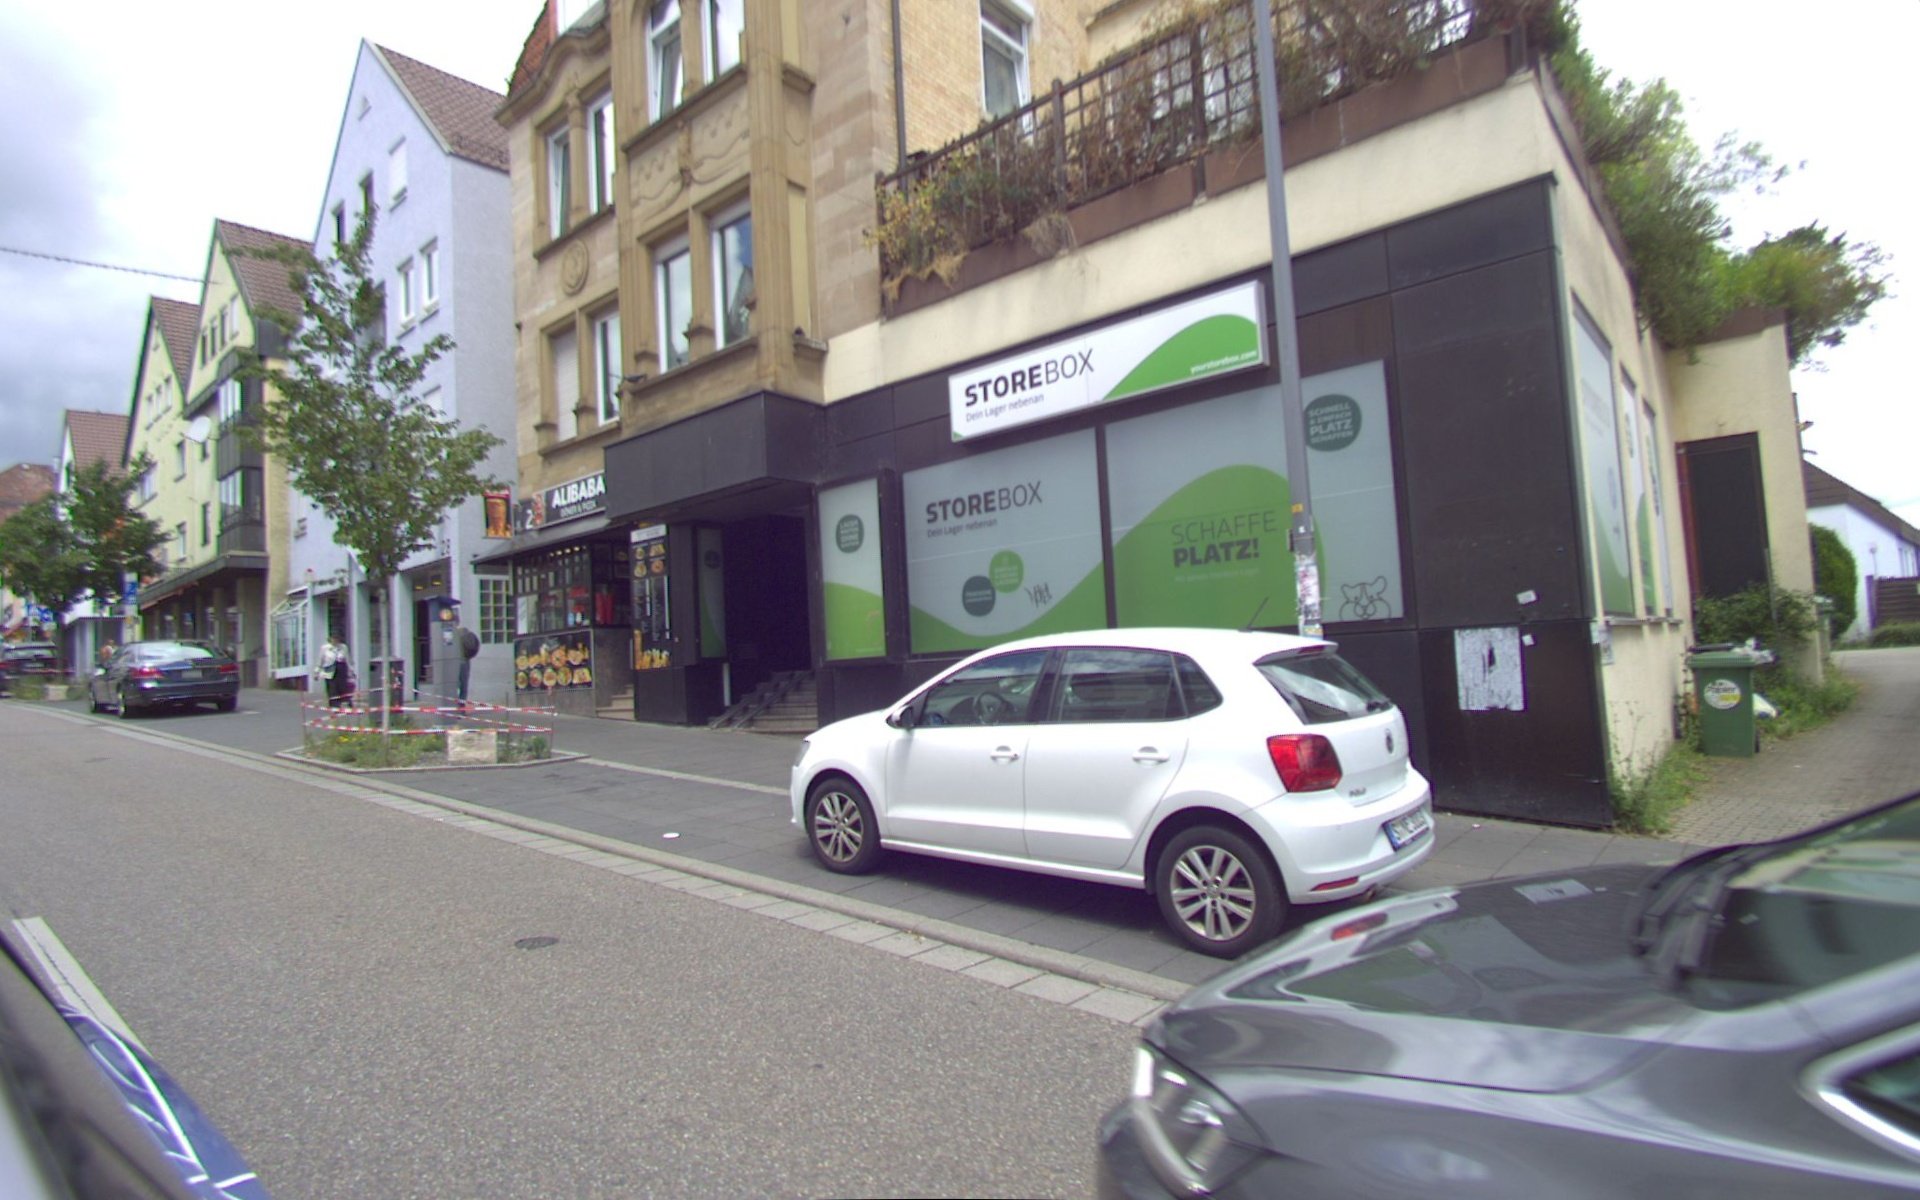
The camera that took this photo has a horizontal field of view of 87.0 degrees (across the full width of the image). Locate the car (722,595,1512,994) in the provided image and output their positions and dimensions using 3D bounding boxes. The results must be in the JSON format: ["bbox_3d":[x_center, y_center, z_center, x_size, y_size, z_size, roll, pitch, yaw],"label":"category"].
[{"bbox_3d":[0.690,0.847,6.049,4.258,1.523,1.907,-3,-1,40],"label":"car"}]

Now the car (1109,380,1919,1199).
[{"bbox_3d":[2.357,0.628,0.786,4.132,1.630,1.800,-2,-4,40],"label":"car"}]

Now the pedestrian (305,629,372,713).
[{"bbox_3d":[-11.526,1.305,18.777,0.809,1.474,0.817,-3,-1,40],"label":"pedestrian"}]

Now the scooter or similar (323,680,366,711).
[{"bbox_3d":[-11.629,1.800,19.116,0.572,0.523,0.519,-3,-1,40],"label":"scooter or similar"}]

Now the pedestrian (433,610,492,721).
[{"bbox_3d":[-8.062,1.046,16.402,0.710,1.726,0.581,-3,-1,40],"label":"pedestrian"}]

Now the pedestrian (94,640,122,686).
[{"bbox_3d":[-33.256,2.459,39.509,0.835,1.752,0.630,-3,-4,38],"label":"pedestrian"}]

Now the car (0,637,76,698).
[{"bbox_3d":[-29.487,2.141,31.748,4.603,1.706,1.986,-4,-2,40],"label":"car"}]

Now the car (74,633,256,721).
[{"bbox_3d":[-16.237,1.517,20.580,4.838,1.504,1.907,-3,-1,40],"label":"car"}]
